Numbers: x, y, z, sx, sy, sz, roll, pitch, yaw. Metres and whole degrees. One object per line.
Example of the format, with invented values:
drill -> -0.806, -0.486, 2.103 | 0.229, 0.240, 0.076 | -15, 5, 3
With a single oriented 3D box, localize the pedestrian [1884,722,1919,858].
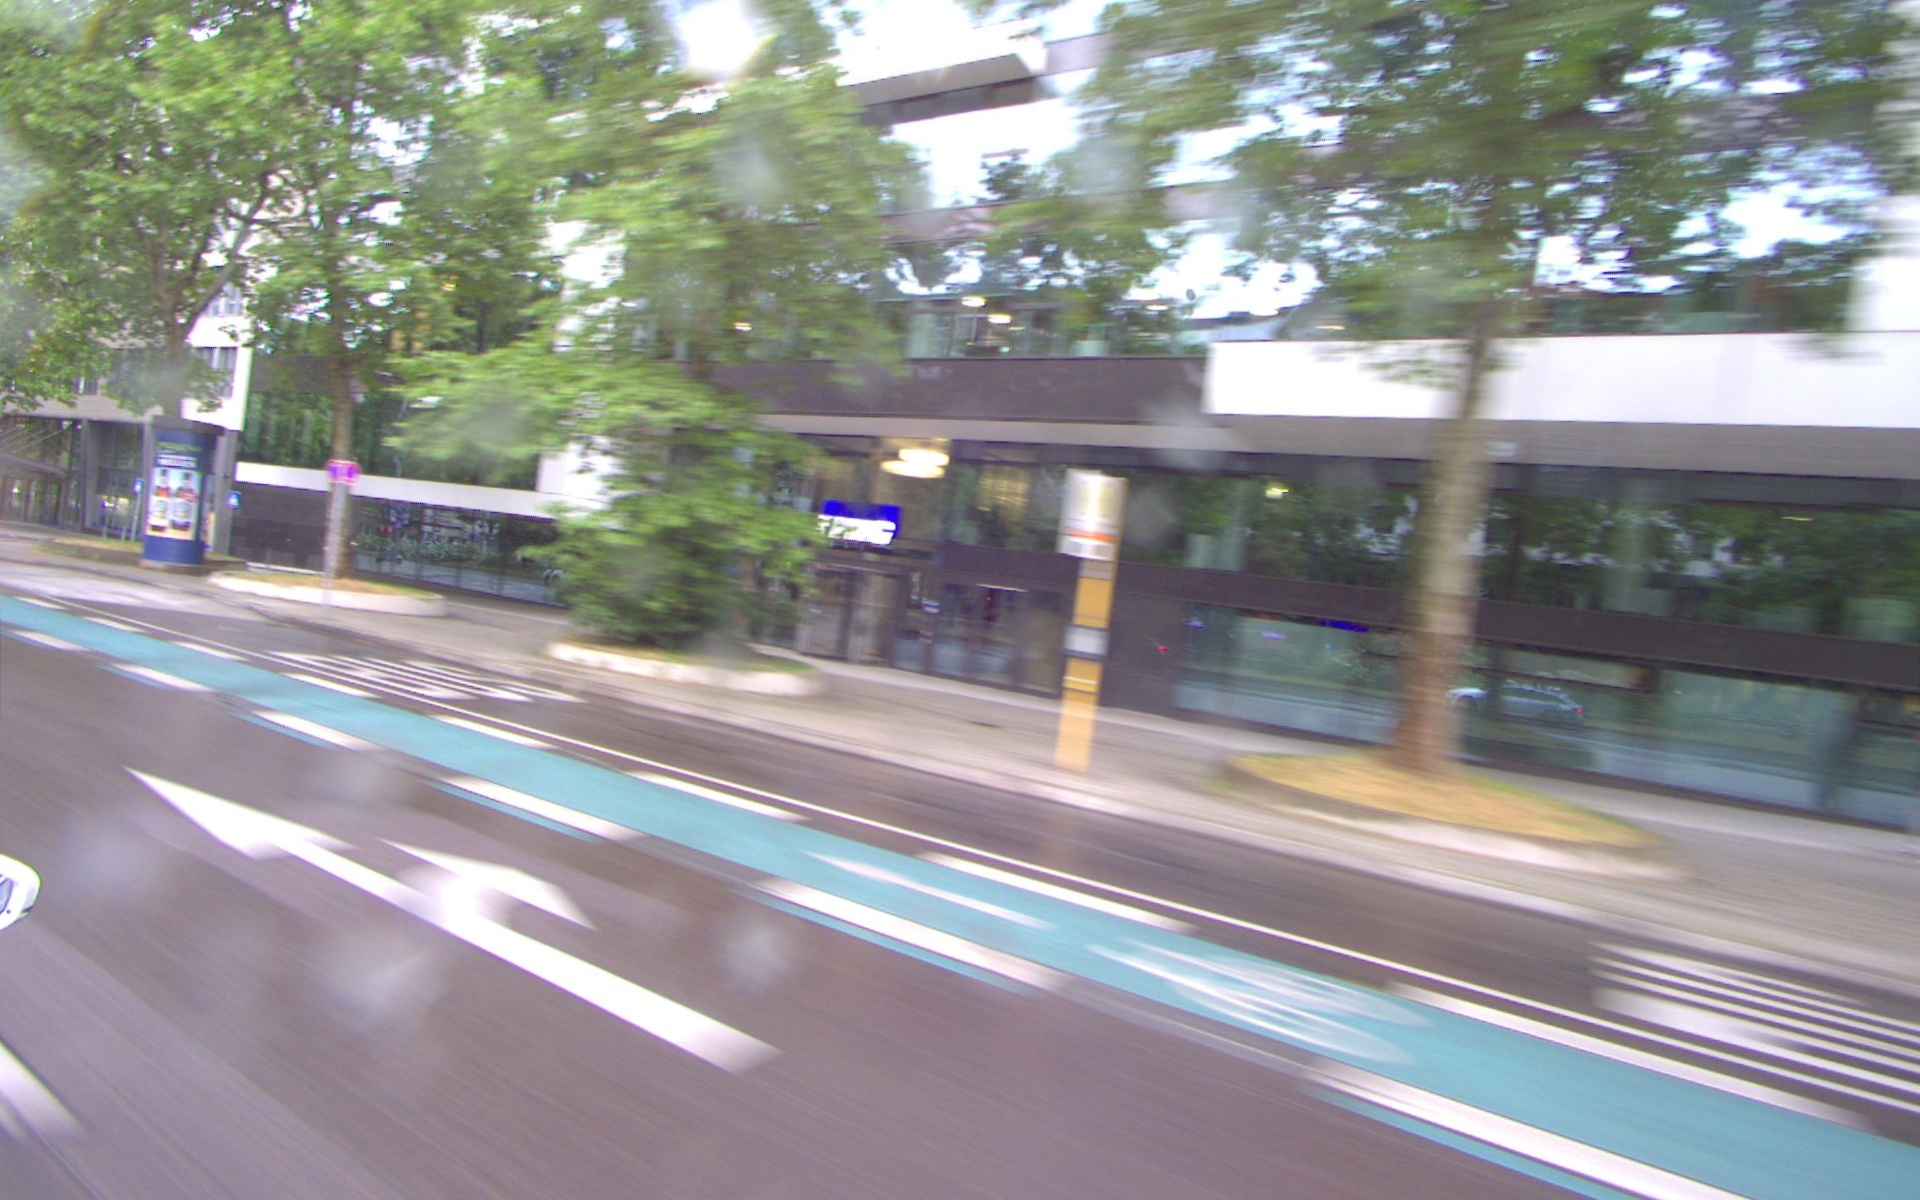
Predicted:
pedestrian -> 13.806, 2.724, 14.370 | 0.597, 1.877, 0.563 | 7, 0, 29

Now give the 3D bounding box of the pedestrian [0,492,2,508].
pedestrian -> -59.332, -5.755, 61.615 | 0.645, 1.837, 0.651 | 7, -1, 31
